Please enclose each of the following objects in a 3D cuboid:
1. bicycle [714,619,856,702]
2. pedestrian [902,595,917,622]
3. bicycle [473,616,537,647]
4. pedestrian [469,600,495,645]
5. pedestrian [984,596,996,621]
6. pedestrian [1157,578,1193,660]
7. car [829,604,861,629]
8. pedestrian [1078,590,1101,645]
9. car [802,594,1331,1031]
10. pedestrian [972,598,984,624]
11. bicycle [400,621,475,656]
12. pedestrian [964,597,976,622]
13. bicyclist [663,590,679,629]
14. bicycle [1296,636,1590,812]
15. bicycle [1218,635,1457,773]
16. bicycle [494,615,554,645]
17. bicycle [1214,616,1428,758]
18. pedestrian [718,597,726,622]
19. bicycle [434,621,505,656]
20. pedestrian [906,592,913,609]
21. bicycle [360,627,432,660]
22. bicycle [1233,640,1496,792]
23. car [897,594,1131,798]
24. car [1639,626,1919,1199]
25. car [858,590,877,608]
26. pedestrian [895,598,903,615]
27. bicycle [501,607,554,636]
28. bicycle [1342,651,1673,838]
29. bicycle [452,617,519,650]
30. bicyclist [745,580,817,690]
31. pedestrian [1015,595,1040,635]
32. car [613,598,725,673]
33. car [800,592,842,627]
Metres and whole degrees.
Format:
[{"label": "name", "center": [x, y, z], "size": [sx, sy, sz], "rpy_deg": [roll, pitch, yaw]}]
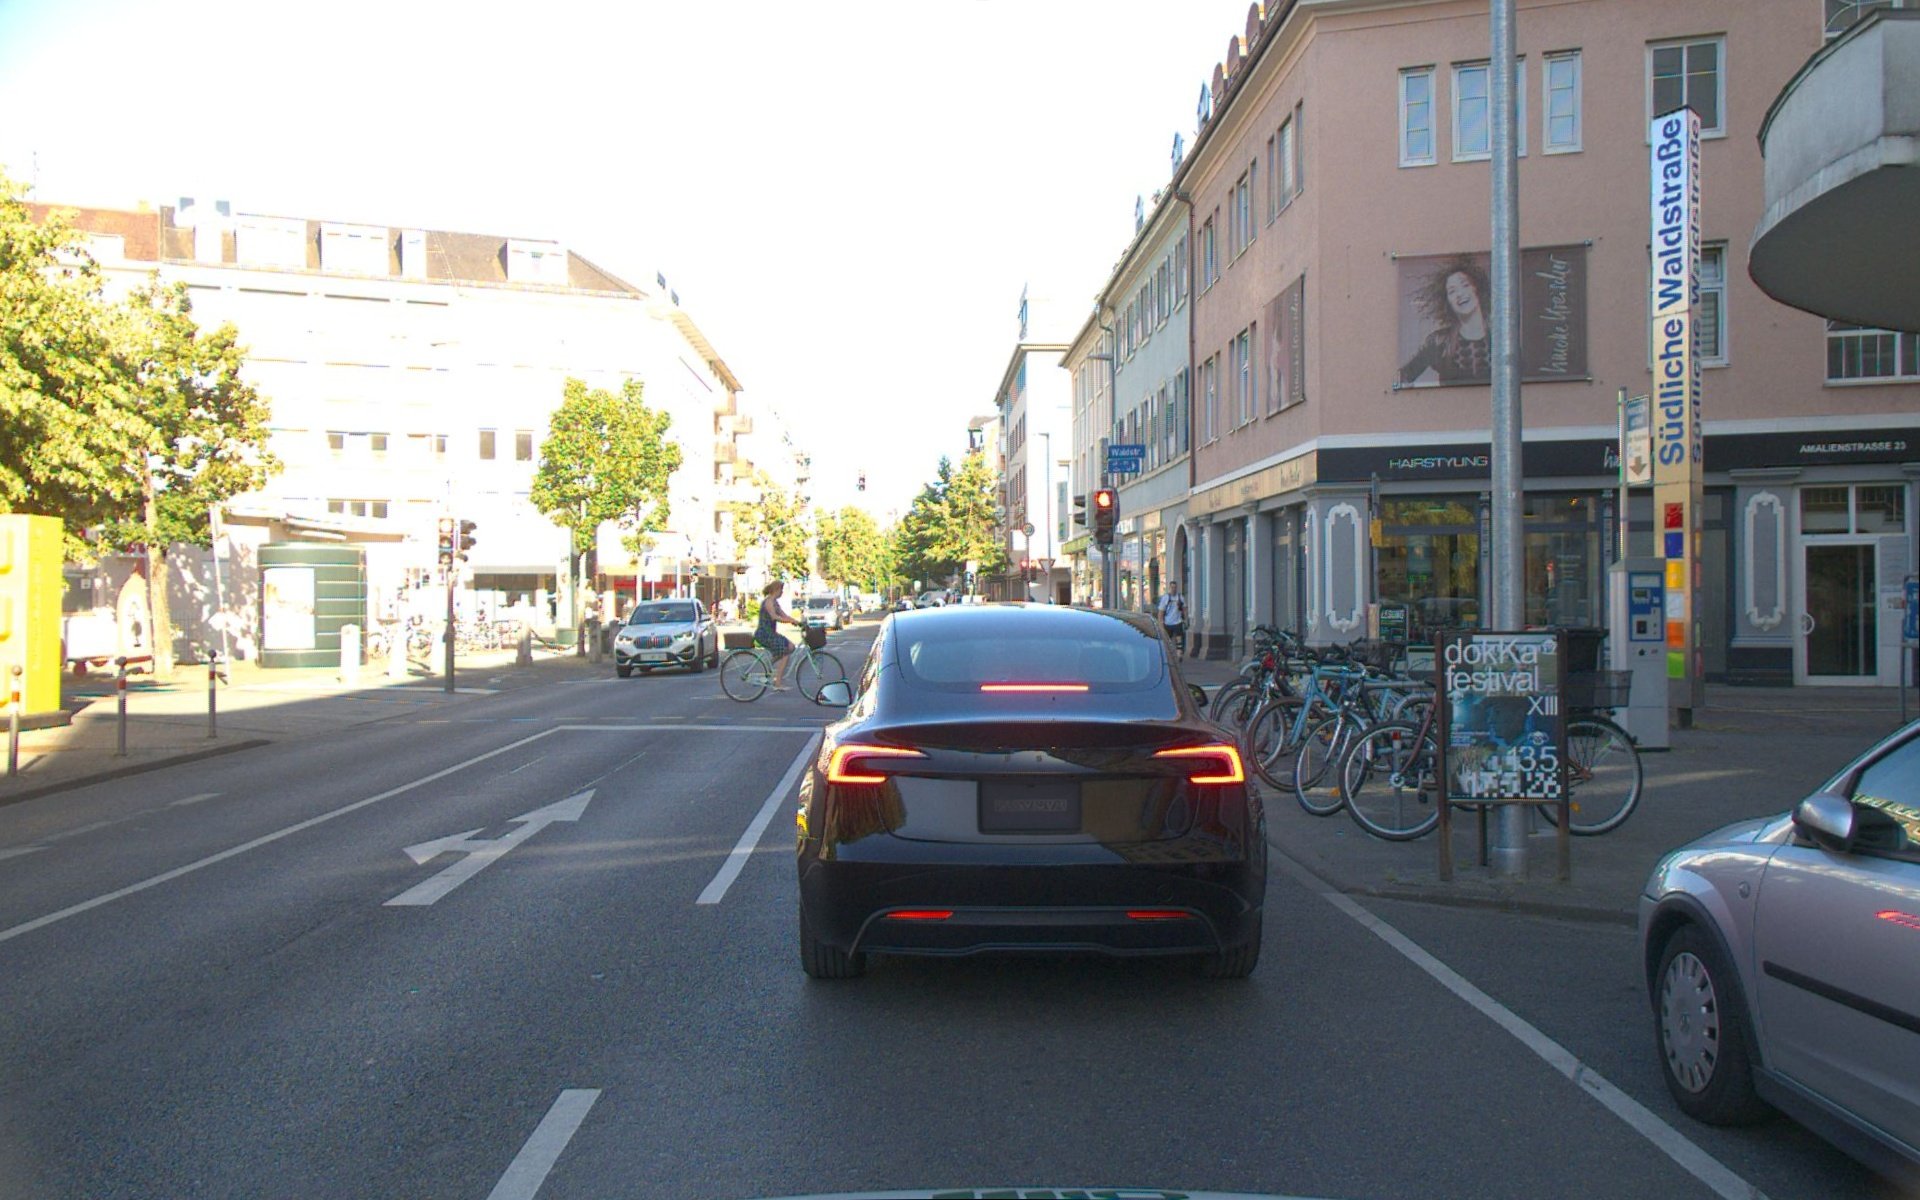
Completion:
[{"label": "bicycle", "center": [-2.448, 0.833, 23.236], "size": [1.893, 1.137, 0.709], "rpy_deg": [0, -1, 4]}, {"label": "pedestrian", "center": [-3.217, 0.545, 105.660], "size": [0.708, 1.725, 0.843], "rpy_deg": [0, 0, -28]}, {"label": "bicycle", "center": [-14.330, 0.980, 52.101], "size": [1.826, 0.950, 0.606], "rpy_deg": [0, 0, -2]}, {"label": "pedestrian", "center": [-21.893, 1.036, 75.702], "size": [1.041, 2.049, 1.049], "rpy_deg": [1, -1, -20]}, {"label": "pedestrian", "center": [1.759, 0.502, 95.774], "size": [0.516, 1.447, 0.474], "rpy_deg": [1, -1, -31]}, {"label": "pedestrian", "center": [4.750, 0.411, 36.581], "size": [0.735, 1.796, 0.837], "rpy_deg": [0, -1, 3]}, {"label": "car", "center": [-6.982, 1.014, 100.591], "size": [1.680, 1.471, 3.844], "rpy_deg": [1, 0, -1]}, {"label": "pedestrian", "center": [4.234, 0.576, 54.238], "size": [0.692, 1.773, 0.540], "rpy_deg": [0, 0, -1]}, {"label": "car", "center": [0.334, 0.724, 7.579], "size": [1.785, 1.467, 3.999], "rpy_deg": [0, 0, -1]}, {"label": "pedestrian", "center": [1.049, 0.639, 95.022], "size": [0.516, 1.447, 0.474], "rpy_deg": [1, -1, -31]}, {"label": "bicycle", "center": [-14.195, 1.044, 44.981], "size": [1.826, 0.950, 0.606], "rpy_deg": [0, 0, -2]}, {"label": "pedestrian", "center": [0.558, 0.534, 95.798], "size": [0.467, 1.442, 0.516], "rpy_deg": [1, -1, -32]}, {"label": "bicyclist", "center": [-11.512, 0.366, 65.950], "size": [0.516, 1.530, 0.472], "rpy_deg": [1, -1, -25]}, {"label": "bicycle", "center": [3.247, 0.830, 11.196], "size": [1.834, 1.106, 0.414], "rpy_deg": [-2, -1, 3]}, {"label": "bicycle", "center": [3.096, 0.850, 13.664], "size": [1.833, 1.056, 0.548], "rpy_deg": [-2, -1, 5]}, {"label": "bicycle", "center": [-14.366, 0.990, 54.548], "size": [1.826, 0.950, 0.606], "rpy_deg": [0, 0, -2]}, {"label": "bicycle", "center": [3.206, 0.768, 14.789], "size": [1.789, 1.189, 0.506], "rpy_deg": [-2, -1, 5]}, {"label": "pedestrian", "center": [-14.042, 0.565, 97.661], "size": [0.451, 1.486, 0.517], "rpy_deg": [0, 0, -6]}, {"label": "bicycle", "center": [-13.971, 1.089, 47.095], "size": [1.826, 0.950, 0.606], "rpy_deg": [1, 0, -2]}, {"label": "pedestrian", "center": [-6.286, 0.073, 206.109], "size": [0.912, 2.049, 0.938], "rpy_deg": [1, -1, -1]}, {"label": "bicycle", "center": [-14.446, 1.113, 42.396], "size": [1.612, 0.806, 0.606], "rpy_deg": [1, 0, -5]}, {"label": "bicycle", "center": [3.031, 0.866, 12.500], "size": [1.834, 1.056, 0.533], "rpy_deg": [-2, -1, 3]}, {"label": "car", "center": [0.318, 0.689, 13.792], "size": [1.683, 1.450, 3.755], "rpy_deg": [0, 0, -2]}, {"label": "car", "center": [2.907, 0.785, 3.510], "size": [1.515, 1.415, 3.476], "rpy_deg": [0, 0, 0]}, {"label": "car", "center": [-10.413, -0.112, 186.930], "size": [1.953, 2.049, 3.999], "rpy_deg": [1, 0, -1]}, {"label": "pedestrian", "center": [-7.566, 0.796, 205.492], "size": [0.912, 2.049, 0.938], "rpy_deg": [1, -1, -1]}, {"label": "bicycle", "center": [-20.288, 1.025, 77.575], "size": [2.334, 1.318, 0.509], "rpy_deg": [1, -1, -27]}, {"label": "bicycle", "center": [3.274, 0.866, 9.975], "size": [1.833, 1.056, 0.353], "rpy_deg": [-2, -1, 6]}, {"label": "bicycle", "center": [-14.207, 1.005, 49.565], "size": [1.826, 0.950, 0.606], "rpy_deg": [1, 0, -2]}, {"label": "bicyclist", "center": [-2.514, 0.486, 23.247], "size": [0.872, 1.508, 0.702], "rpy_deg": [1, -1, 4]}, {"label": "pedestrian", "center": [2.833, 0.635, 69.272], "size": [0.742, 1.660, 0.951], "rpy_deg": [1, -1, -18]}, {"label": "car", "center": [-6.284, 0.743, 36.041], "size": [1.752, 1.485, 3.756], "rpy_deg": [-2, 0, -1]}, {"label": "car", "center": [-6.809, 0.431, 81.498], "size": [1.751, 1.675, 4.401], "rpy_deg": [0, 0, -1]}]
